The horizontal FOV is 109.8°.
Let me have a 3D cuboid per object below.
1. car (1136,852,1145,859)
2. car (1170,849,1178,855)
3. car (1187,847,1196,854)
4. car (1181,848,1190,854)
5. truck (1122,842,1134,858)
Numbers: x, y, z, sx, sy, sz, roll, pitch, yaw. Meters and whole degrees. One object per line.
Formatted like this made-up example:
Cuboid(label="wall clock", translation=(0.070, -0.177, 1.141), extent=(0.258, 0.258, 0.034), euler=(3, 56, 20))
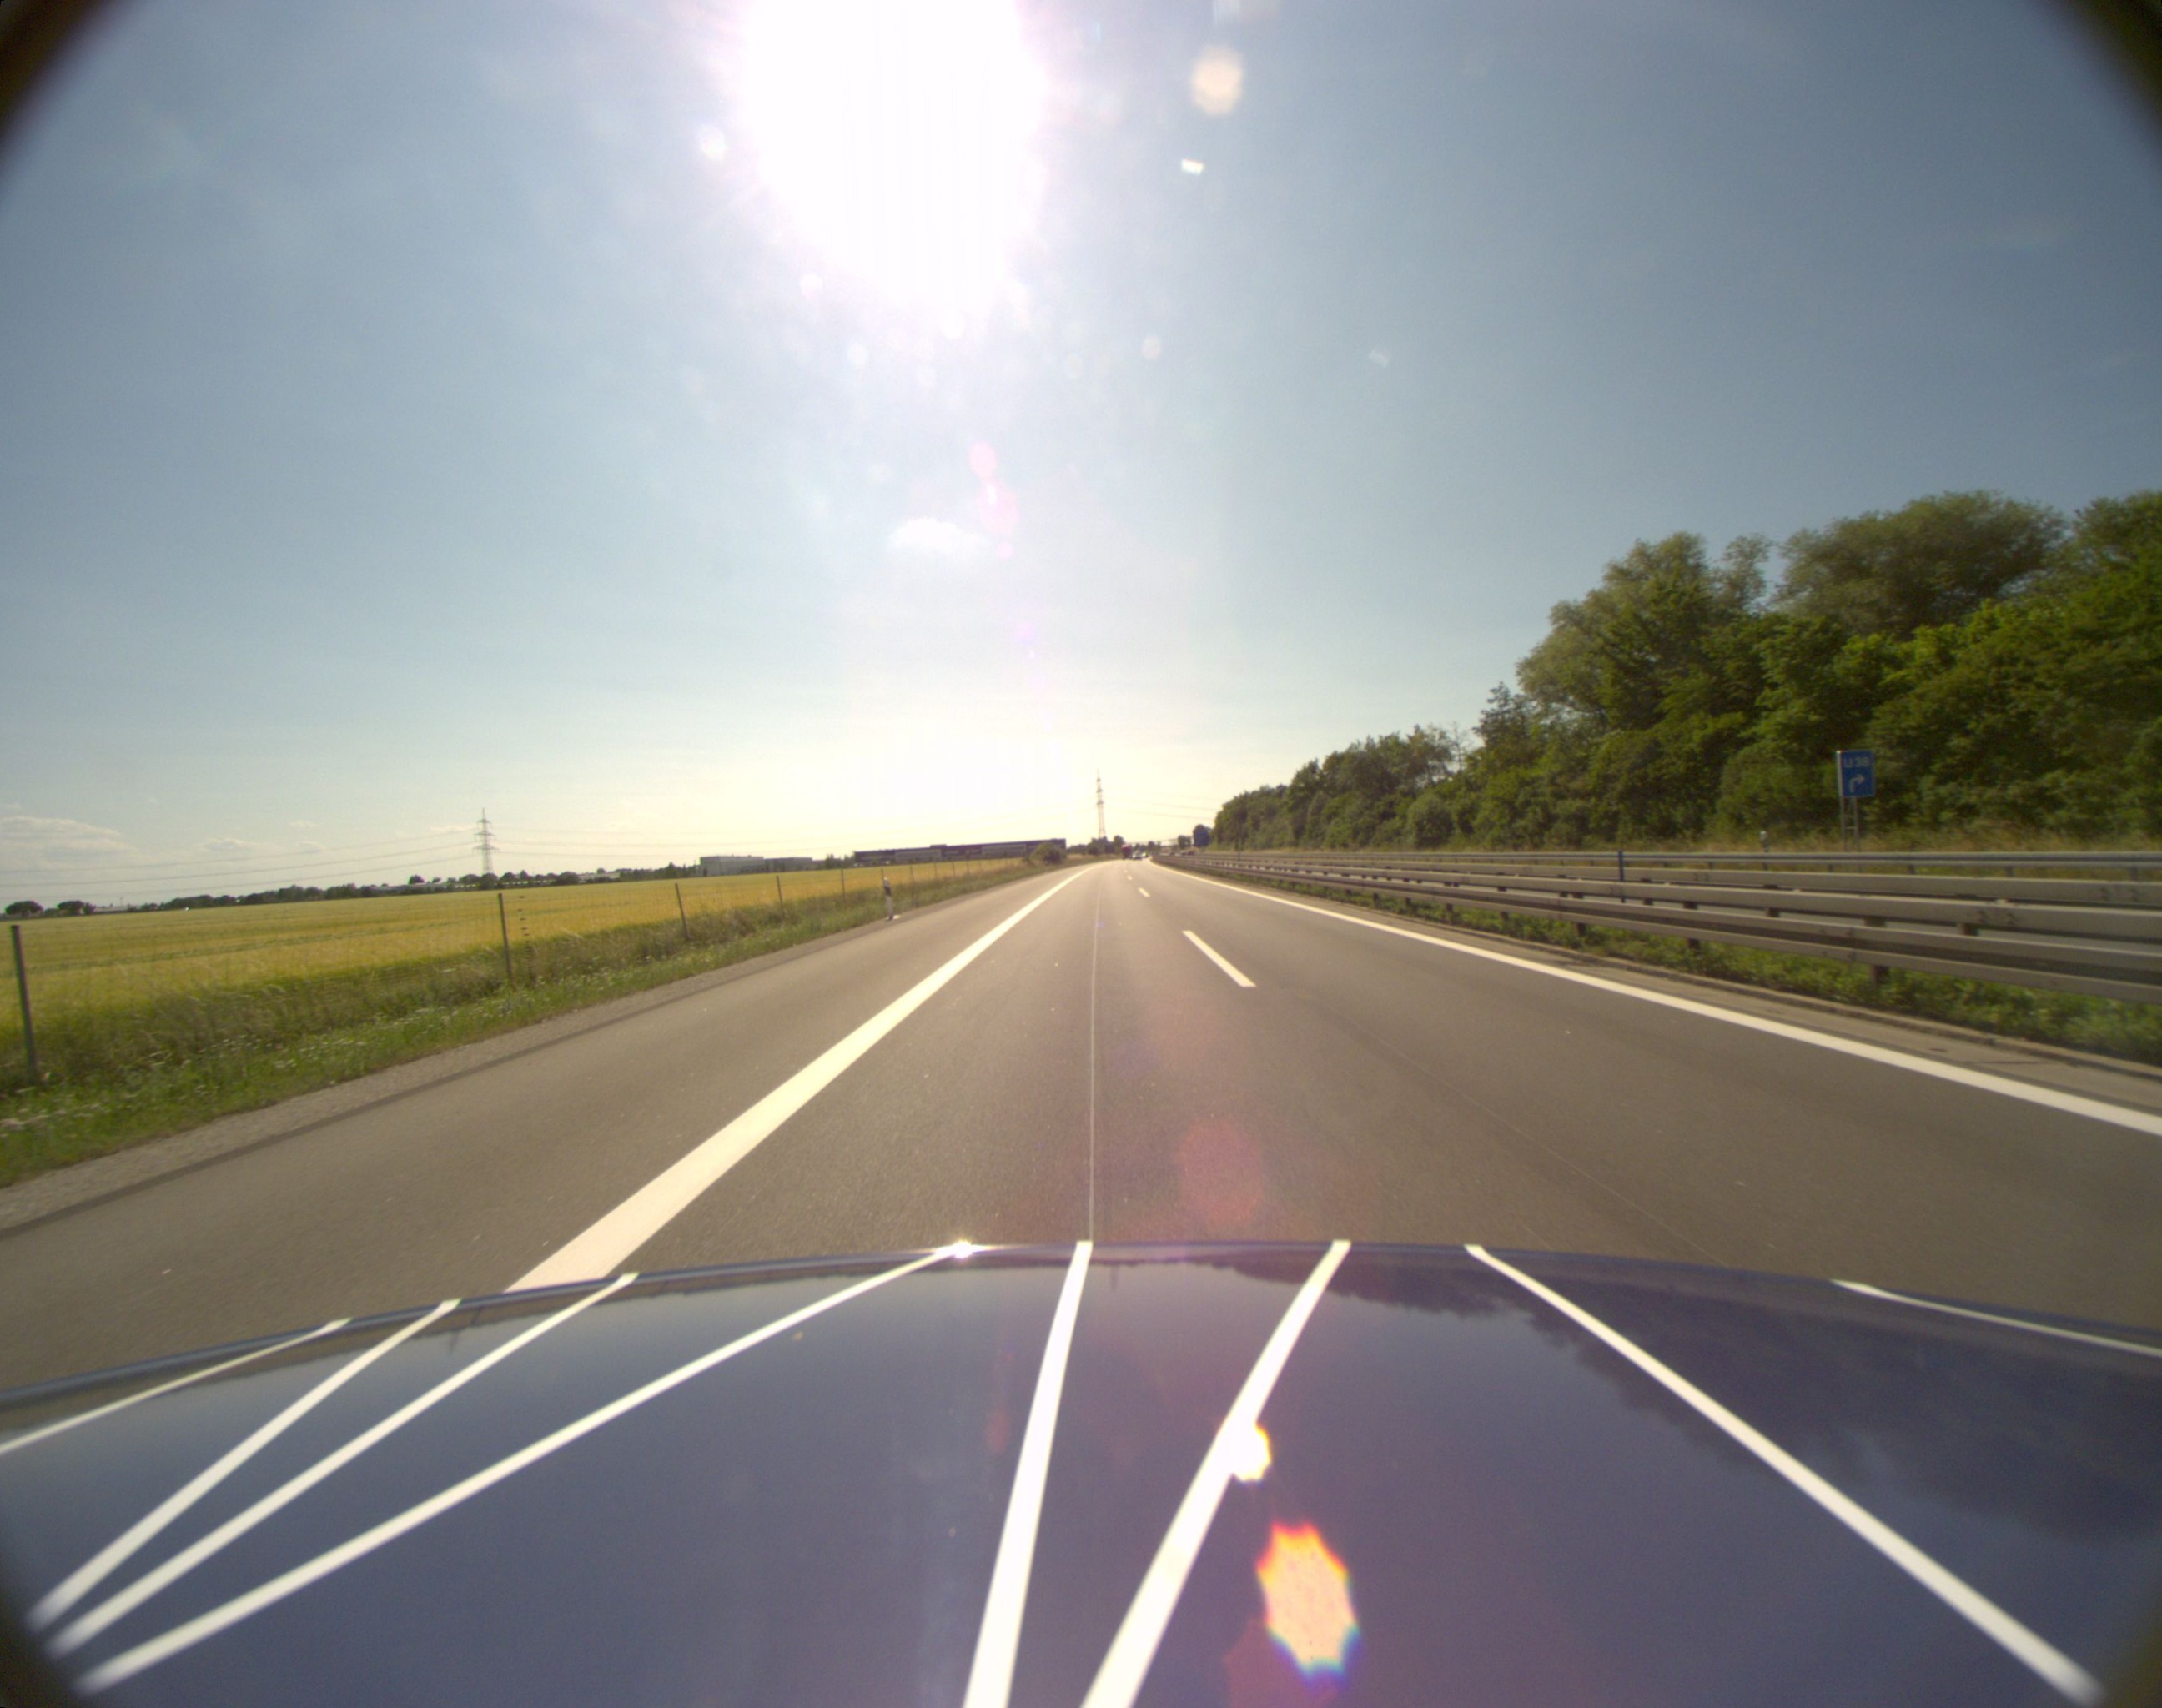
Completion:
Cuboid(label="car", translation=(12.556, 0.281, 159.784), extent=(1.860, 1.361, 4.001), euler=(-2, 1, 5))
Cuboid(label="car", translation=(25.994, -0.650, 212.222), extent=(1.653, 1.484, 4.540), euler=(-2, 0, 3))
Cuboid(label="car", translation=(26.483, -0.822, 182.795), extent=(1.653, 1.484, 4.540), euler=(-2, 0, 3))
Cuboid(label="car", translation=(30.215, -0.997, 219.738), extent=(1.998, 1.603, 4.638), euler=(-3, 0, 5))
Cuboid(label="truck", translation=(12.773, -1.099, 205.717), extent=(2.570, 3.938, 8.646), euler=(-5, 0, 5))
